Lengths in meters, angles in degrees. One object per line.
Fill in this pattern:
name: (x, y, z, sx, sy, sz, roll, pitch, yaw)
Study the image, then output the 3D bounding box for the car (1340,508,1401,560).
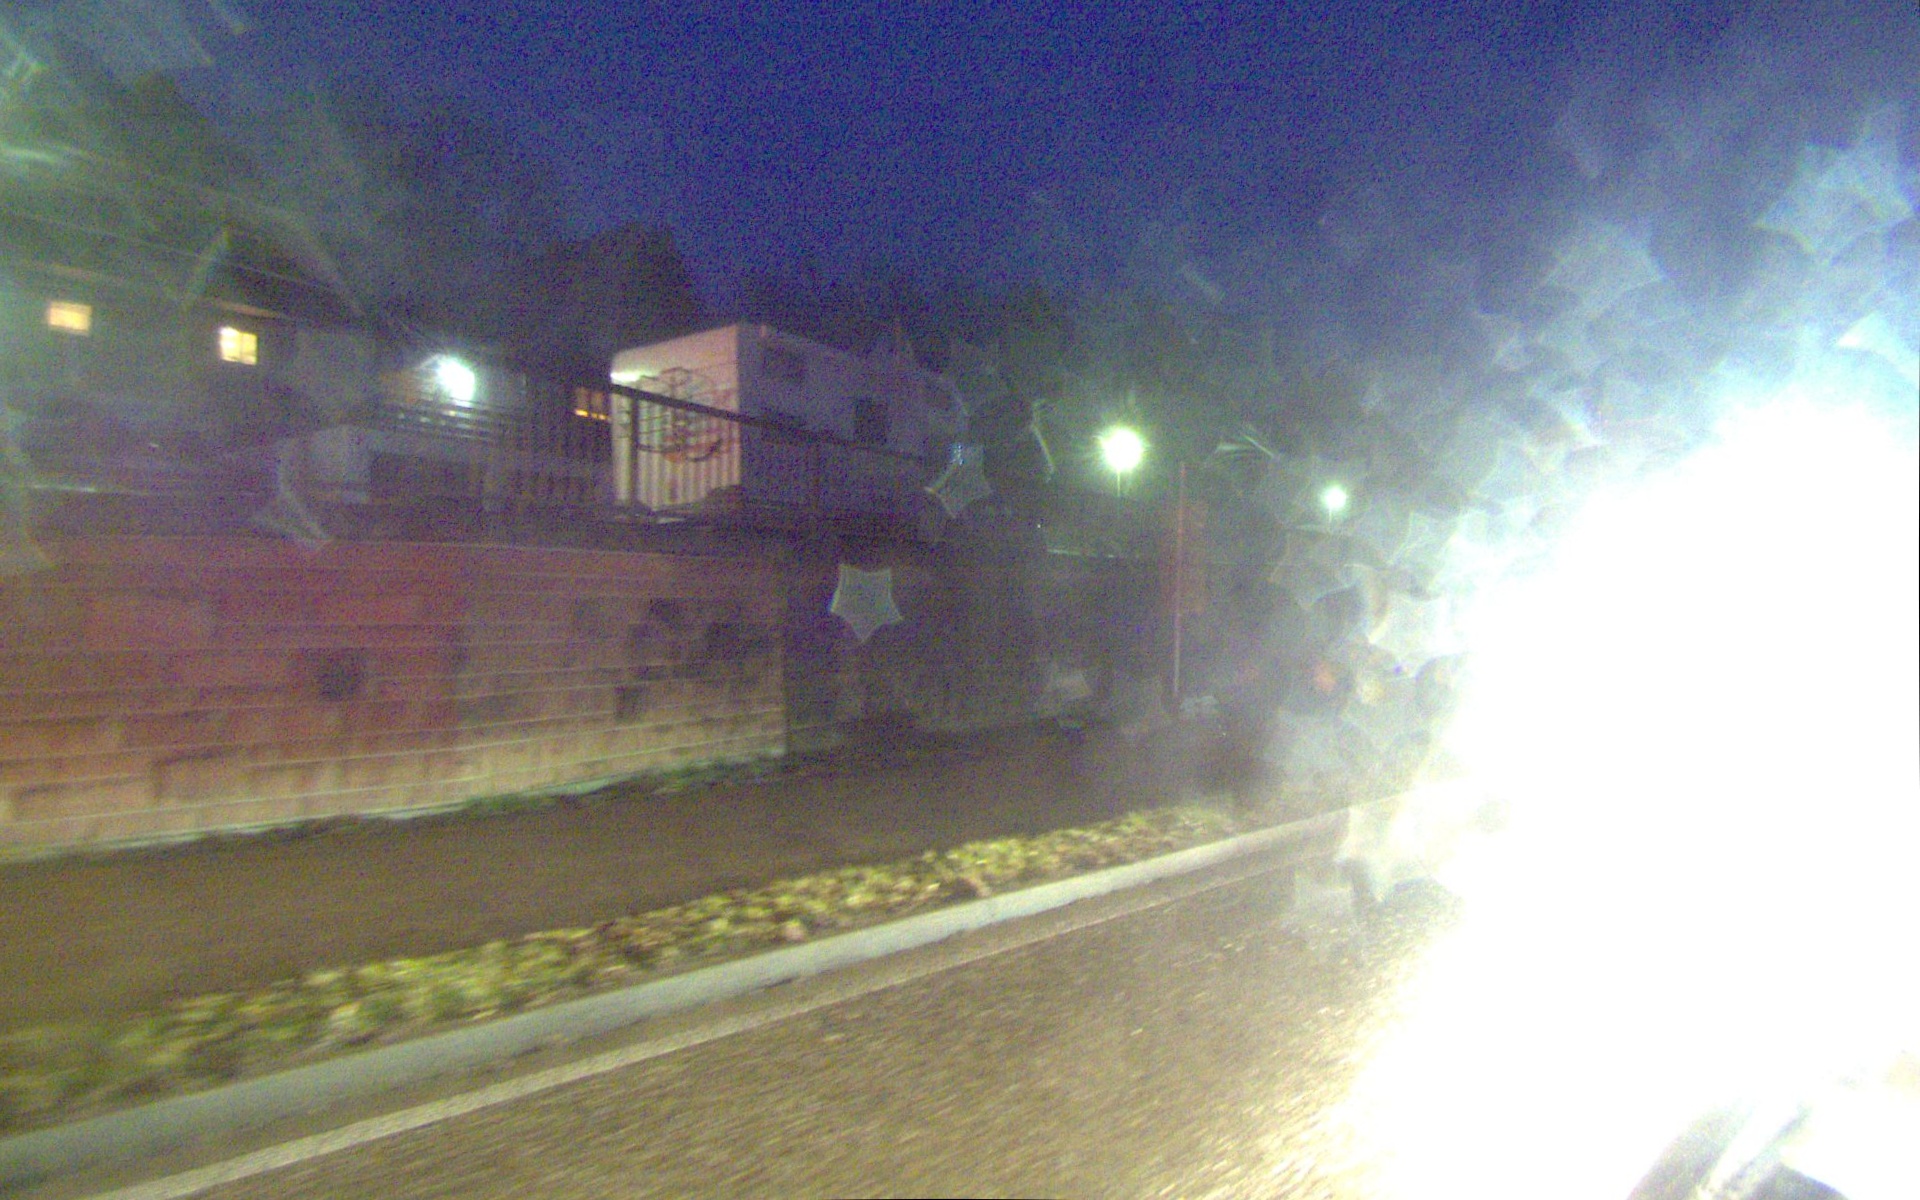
car: (23.347, -3.683, 57.480, 2.107, 2.668, 5.384, 2, 1, 34)

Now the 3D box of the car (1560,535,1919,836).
car: (6.746, 0.528, 8.418, 4.629, 1.841, 1.757, 0, 0, -42)

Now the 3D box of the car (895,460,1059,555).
car: (0.469, -1.839, 21.251, 1.628, 1.638, 4.088, 1, 0, 31)

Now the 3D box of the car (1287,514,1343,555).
car: (16.336, -2.968, 46.534, 1.605, 1.660, 3.954, 1, 1, 32)

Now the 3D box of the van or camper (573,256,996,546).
van or camper: (-2.089, -2.364, 14.524, 2.566, 2.944, 6.292, 2, 1, 30)

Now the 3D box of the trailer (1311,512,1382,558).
trailer: (20.254, -3.333, 52.905, 2.218, 2.097, 5.651, 2, 1, 34)
